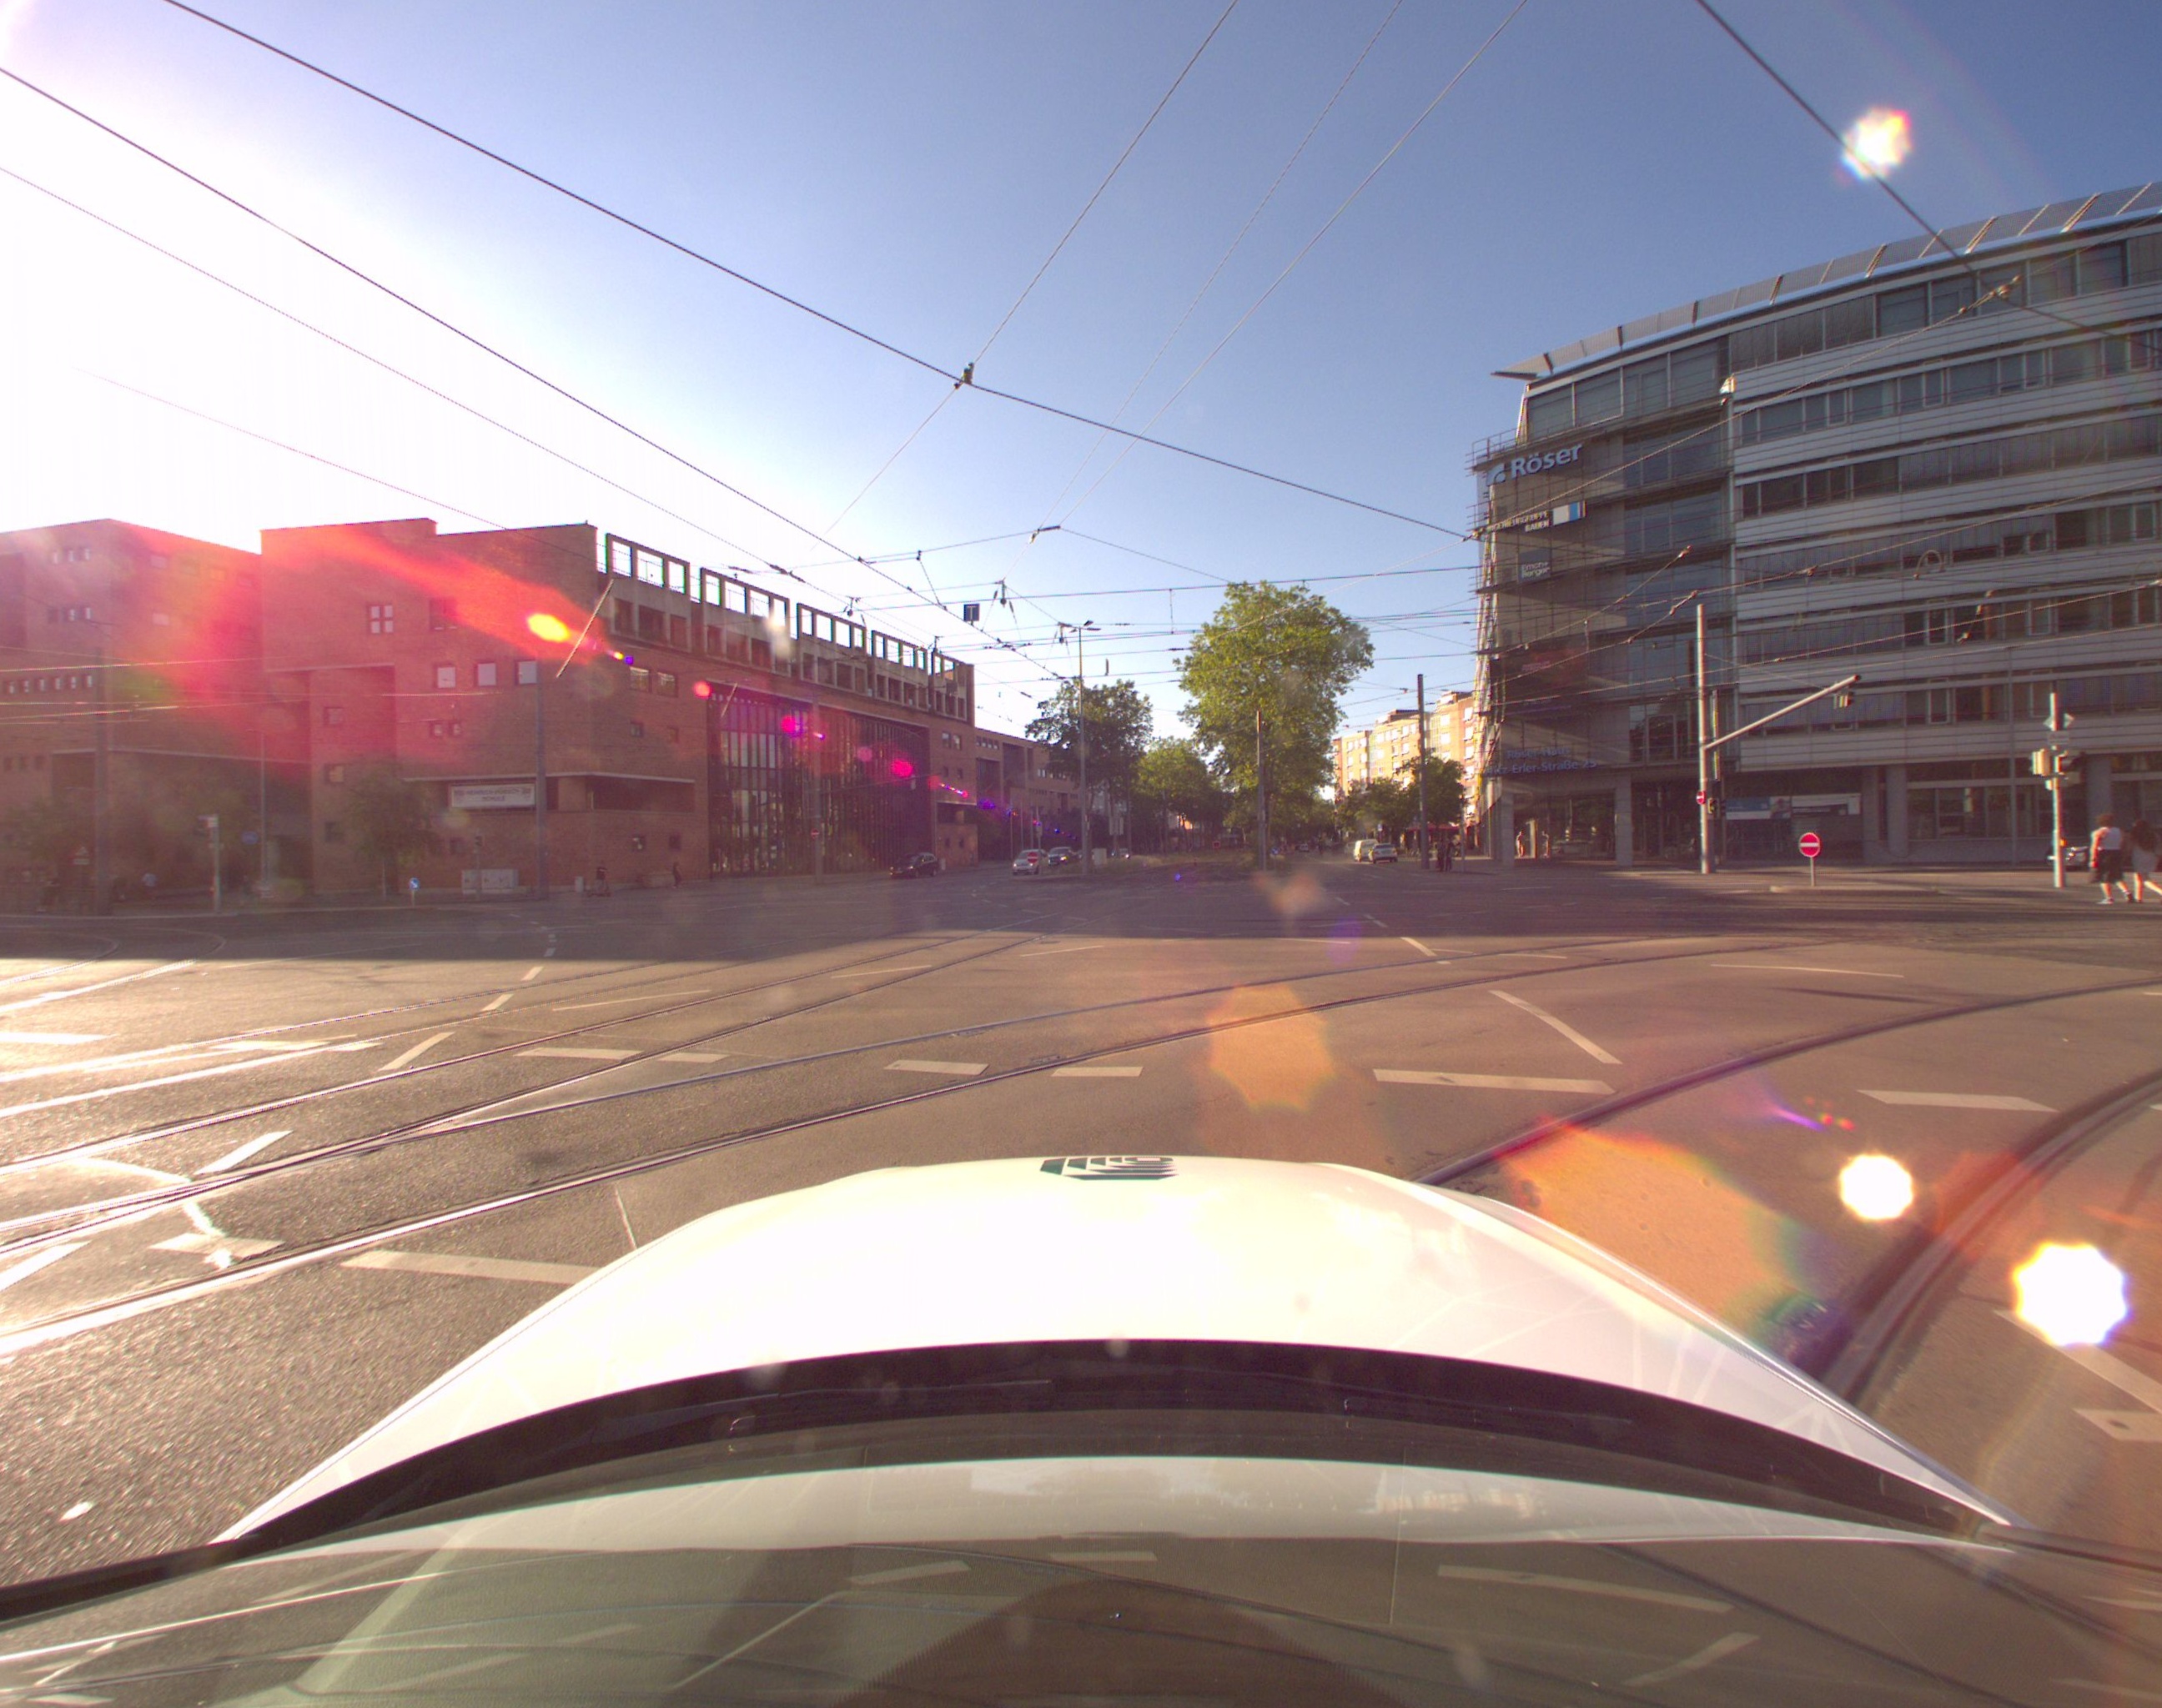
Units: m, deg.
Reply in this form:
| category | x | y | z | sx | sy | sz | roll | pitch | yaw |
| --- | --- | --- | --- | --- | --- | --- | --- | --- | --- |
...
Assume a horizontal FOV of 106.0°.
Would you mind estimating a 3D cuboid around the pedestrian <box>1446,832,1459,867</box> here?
| category | x | y | z | sx | sy | sz | roll | pitch | yaw |
| --- | --- | --- | --- | --- | --- | --- | --- | --- | --- |
| pedestrian | 19.386 | -0.227 | 42.522 | 0.372 | 1.823 | 0.546 | -2 | 0 | -2 |

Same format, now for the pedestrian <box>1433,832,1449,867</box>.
| category | x | y | z | sx | sy | sz | roll | pitch | yaw |
| --- | --- | --- | --- | --- | --- | --- | --- | --- | --- |
| pedestrian | 19.218 | -0.236 | 43.470 | 0.541 | 1.823 | 0.589 | -2 | 0 | -2 |

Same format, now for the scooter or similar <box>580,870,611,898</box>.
| category | x | y | z | sx | sy | sz | roll | pitch | yaw |
| --- | --- | --- | --- | --- | --- | --- | --- | --- | --- |
| scooter or similar | -23.482 | 1.456 | 39.383 | 1.124 | 1.318 | 0.529 | -2 | 0 | 2 |

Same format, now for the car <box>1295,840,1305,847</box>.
| category | x | y | z | sx | sy | sz | roll | pitch | yaw |
| --- | --- | --- | --- | --- | --- | --- | --- | --- | --- |
| car | 48.951 | -2.383 | 182.054 | 1.839 | 1.552 | 4.344 | -2 | 0 | 16 |

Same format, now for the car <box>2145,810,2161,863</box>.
| category | x | y | z | sx | sy | sz | roll | pitch | yaw |
| --- | --- | --- | --- | --- | --- | --- | --- | --- | --- |
| car | 34.597 | -0.544 | 23.803 | 3.818 | 1.621 | 1.916 | 0 | 1 | 25 |

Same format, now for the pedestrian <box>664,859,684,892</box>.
| category | x | y | z | sx | sy | sz | roll | pitch | yaw |
| --- | --- | --- | --- | --- | --- | --- | --- | --- | --- |
| pedestrian | -21.828 | 1.143 | 43.637 | 0.828 | 1.716 | 0.657 | -2 | 0 | -37 |

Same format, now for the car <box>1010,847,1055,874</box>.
| category | x | y | z | sx | sy | sz | roll | pitch | yaw |
| --- | --- | --- | --- | --- | --- | --- | --- | --- | --- |
| car | -3.152 | 0.396 | 53.642 | 1.718 | 1.597 | 4.342 | -2 | 0 | 14 |

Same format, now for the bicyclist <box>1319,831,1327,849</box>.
| category | x | y | z | sx | sy | sz | roll | pitch | yaw |
| --- | --- | --- | --- | --- | --- | --- | --- | --- | --- |
| bicyclist | 27.203 | -1.579 | 91.610 | 0.745 | 2.013 | 0.747 | -1 | 1 | 22 |

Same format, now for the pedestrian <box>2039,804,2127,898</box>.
| category | x | y | z | sx | sy | sz | roll | pitch | yaw |
| --- | --- | --- | --- | --- | --- | --- | --- | --- | --- |
| pedestrian | 20.395 | -0.063 | 16.593 | 0.691 | 1.842 | 0.971 | -2 | 0 | 19 |

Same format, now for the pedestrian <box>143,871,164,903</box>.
| category | x | y | z | sx | sy | sz | roll | pitch | yaw |
| --- | --- | --- | --- | --- | --- | --- | --- | --- | --- |
| pedestrian | -52.254 | 1.854 | 45.893 | 0.687 | 1.756 | 0.541 | -2 | 0 | 21 |

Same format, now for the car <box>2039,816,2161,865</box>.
| category | x | y | z | sx | sy | sz | roll | pitch | yaw |
| --- | --- | --- | --- | --- | --- | --- | --- | --- | --- |
| car | 36.705 | -0.472 | 28.212 | 4.120 | 1.621 | 1.916 | 0 | 1 | 25 |

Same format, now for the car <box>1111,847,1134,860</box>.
| category | x | y | z | sx | sy | sz | roll | pitch | yaw |
| --- | --- | --- | --- | --- | --- | --- | --- | --- | --- |
| car | 4.297 | -0.057 | 85.051 | 1.839 | 1.222 | 3.991 | -2 | 1 | -6 |

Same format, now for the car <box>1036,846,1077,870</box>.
| category | x | y | z | sx | sy | sz | roll | pitch | yaw |
| --- | --- | --- | --- | --- | --- | --- | --- | --- | --- |
| car | -1.781 | 0.255 | 60.803 | 1.840 | 1.650 | 4.342 | -2 | 0 | 14 |

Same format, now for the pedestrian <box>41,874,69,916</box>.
| category | x | y | z | sx | sy | sz | roll | pitch | yaw |
| --- | --- | --- | --- | --- | --- | --- | --- | --- | --- |
| pedestrian | -38.180 | 1.513 | 30.310 | 0.544 | 1.538 | 0.493 | -2 | 0 | 25 |

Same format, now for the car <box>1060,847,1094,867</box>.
| category | x | y | z | sx | sy | sz | roll | pitch | yaw |
| --- | --- | --- | --- | --- | --- | --- | --- | --- | --- |
| car | -0.271 | 0.231 | 68.955 | 1.840 | 1.552 | 4.342 | -2 | 0 | 14 |

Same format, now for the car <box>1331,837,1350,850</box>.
| category | x | y | z | sx | sy | sz | roll | pitch | yaw |
| --- | --- | --- | --- | --- | --- | --- | --- | --- | --- |
| car | 33.366 | -1.315 | 104.928 | 2.245 | 1.552 | 4.345 | -2 | 0 | 17 |

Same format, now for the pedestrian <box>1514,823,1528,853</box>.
| category | x | y | z | sx | sy | sz | roll | pitch | yaw |
| --- | --- | --- | --- | --- | --- | --- | --- | --- | --- |
| pedestrian | 30.562 | -1.105 | 56.554 | 0.668 | 2.013 | 0.517 | -2 | 0 | 16 |

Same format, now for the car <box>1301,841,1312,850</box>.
| category | x | y | z | sx | sy | sz | roll | pitch | yaw |
| --- | --- | --- | --- | --- | --- | --- | --- | --- | --- |
| car | 41.731 | -1.624 | 150.770 | 1.839 | 1.552 | 4.344 | -2 | 0 | 16 |

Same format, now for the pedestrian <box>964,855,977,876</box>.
| category | x | y | z | sx | sy | sz | roll | pitch | yaw |
| --- | --- | --- | --- | --- | --- | --- | --- | --- | --- |
| pedestrian | -10.484 | 1.095 | 77.353 | 0.762 | 2.013 | 0.888 | -2 | 0 | -43 |

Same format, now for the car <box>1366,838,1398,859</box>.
| category | x | y | z | sx | sy | sz | roll | pitch | yaw |
| --- | --- | --- | --- | --- | --- | --- | --- | --- | --- |
| car | 22.925 | -0.433 | 62.052 | 1.840 | 1.552 | 4.343 | -2 | 0 | 15 |

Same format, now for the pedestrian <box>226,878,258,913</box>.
| category | x | y | z | sx | sy | sz | roll | pitch | yaw |
| --- | --- | --- | --- | --- | --- | --- | --- | --- | --- |
| pedestrian | -39.013 | 1.931 | 37.857 | 0.842 | 1.538 | 0.719 | -2 | 0 | 19 |

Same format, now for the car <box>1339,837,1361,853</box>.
| category | x | y | z | sx | sy | sz | roll | pitch | yaw |
| --- | --- | --- | --- | --- | --- | --- | --- | --- | --- |
| car | 27.642 | -0.940 | 83.872 | 1.840 | 1.552 | 4.343 | -2 | 0 | 15 |

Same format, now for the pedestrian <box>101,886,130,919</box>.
| category | x | y | z | sx | sy | sz | roll | pitch | yaw |
| --- | --- | --- | --- | --- | --- | --- | --- | --- | --- |
| pedestrian | -52.292 | 2.618 | 44.116 | 0.694 | 1.756 | 0.732 | -2 | 0 | -13 |

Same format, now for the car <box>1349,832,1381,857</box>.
| category | x | y | z | sx | sy | sz | roll | pitch | yaw |
| --- | --- | --- | --- | --- | --- | --- | --- | --- | --- |
| car | 23.946 | -0.783 | 68.787 | 1.980 | 2.013 | 4.400 | -2 | 0 | 12 |

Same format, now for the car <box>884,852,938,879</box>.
| category | x | y | z | sx | sy | sz | roll | pitch | yaw |
| --- | --- | --- | --- | --- | --- | --- | --- | --- | --- |
| car | -11.583 | 0.742 | 55.764 | 1.820 | 1.654 | 4.517 | -2 | 0 | 14 |

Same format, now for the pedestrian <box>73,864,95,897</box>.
| category | x | y | z | sx | sy | sz | roll | pitch | yaw |
| --- | --- | --- | --- | --- | --- | --- | --- | --- | --- |
| pedestrian | -53.998 | 1.452 | 44.098 | 0.460 | 1.756 | 0.539 | -2 | 0 | 10 |

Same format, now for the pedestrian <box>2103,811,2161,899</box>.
| category | x | y | z | sx | sy | sz | roll | pitch | yaw |
| --- | --- | --- | --- | --- | --- | --- | --- | --- | --- |
| pedestrian | 20.930 | 0.008 | 16.033 | 0.640 | 1.688 | 0.851 | -2 | 0 | 21 |

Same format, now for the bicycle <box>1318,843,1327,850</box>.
| category | x | y | z | sx | sy | sz | roll | pitch | yaw |
| --- | --- | --- | --- | --- | --- | --- | --- | --- | --- |
| bicycle | 27.148 | -0.822 | 91.467 | 0.811 | 0.774 | 1.739 | -2 | 0 | 22 |

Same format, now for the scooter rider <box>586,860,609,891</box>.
| category | x | y | z | sx | sy | sz | roll | pitch | yaw |
| --- | --- | --- | --- | --- | --- | --- | --- | --- | --- |
| scooter rider | -23.391 | 1.018 | 39.393 | 0.716 | 1.460 | 0.508 | -2 | 0 | 3 |
